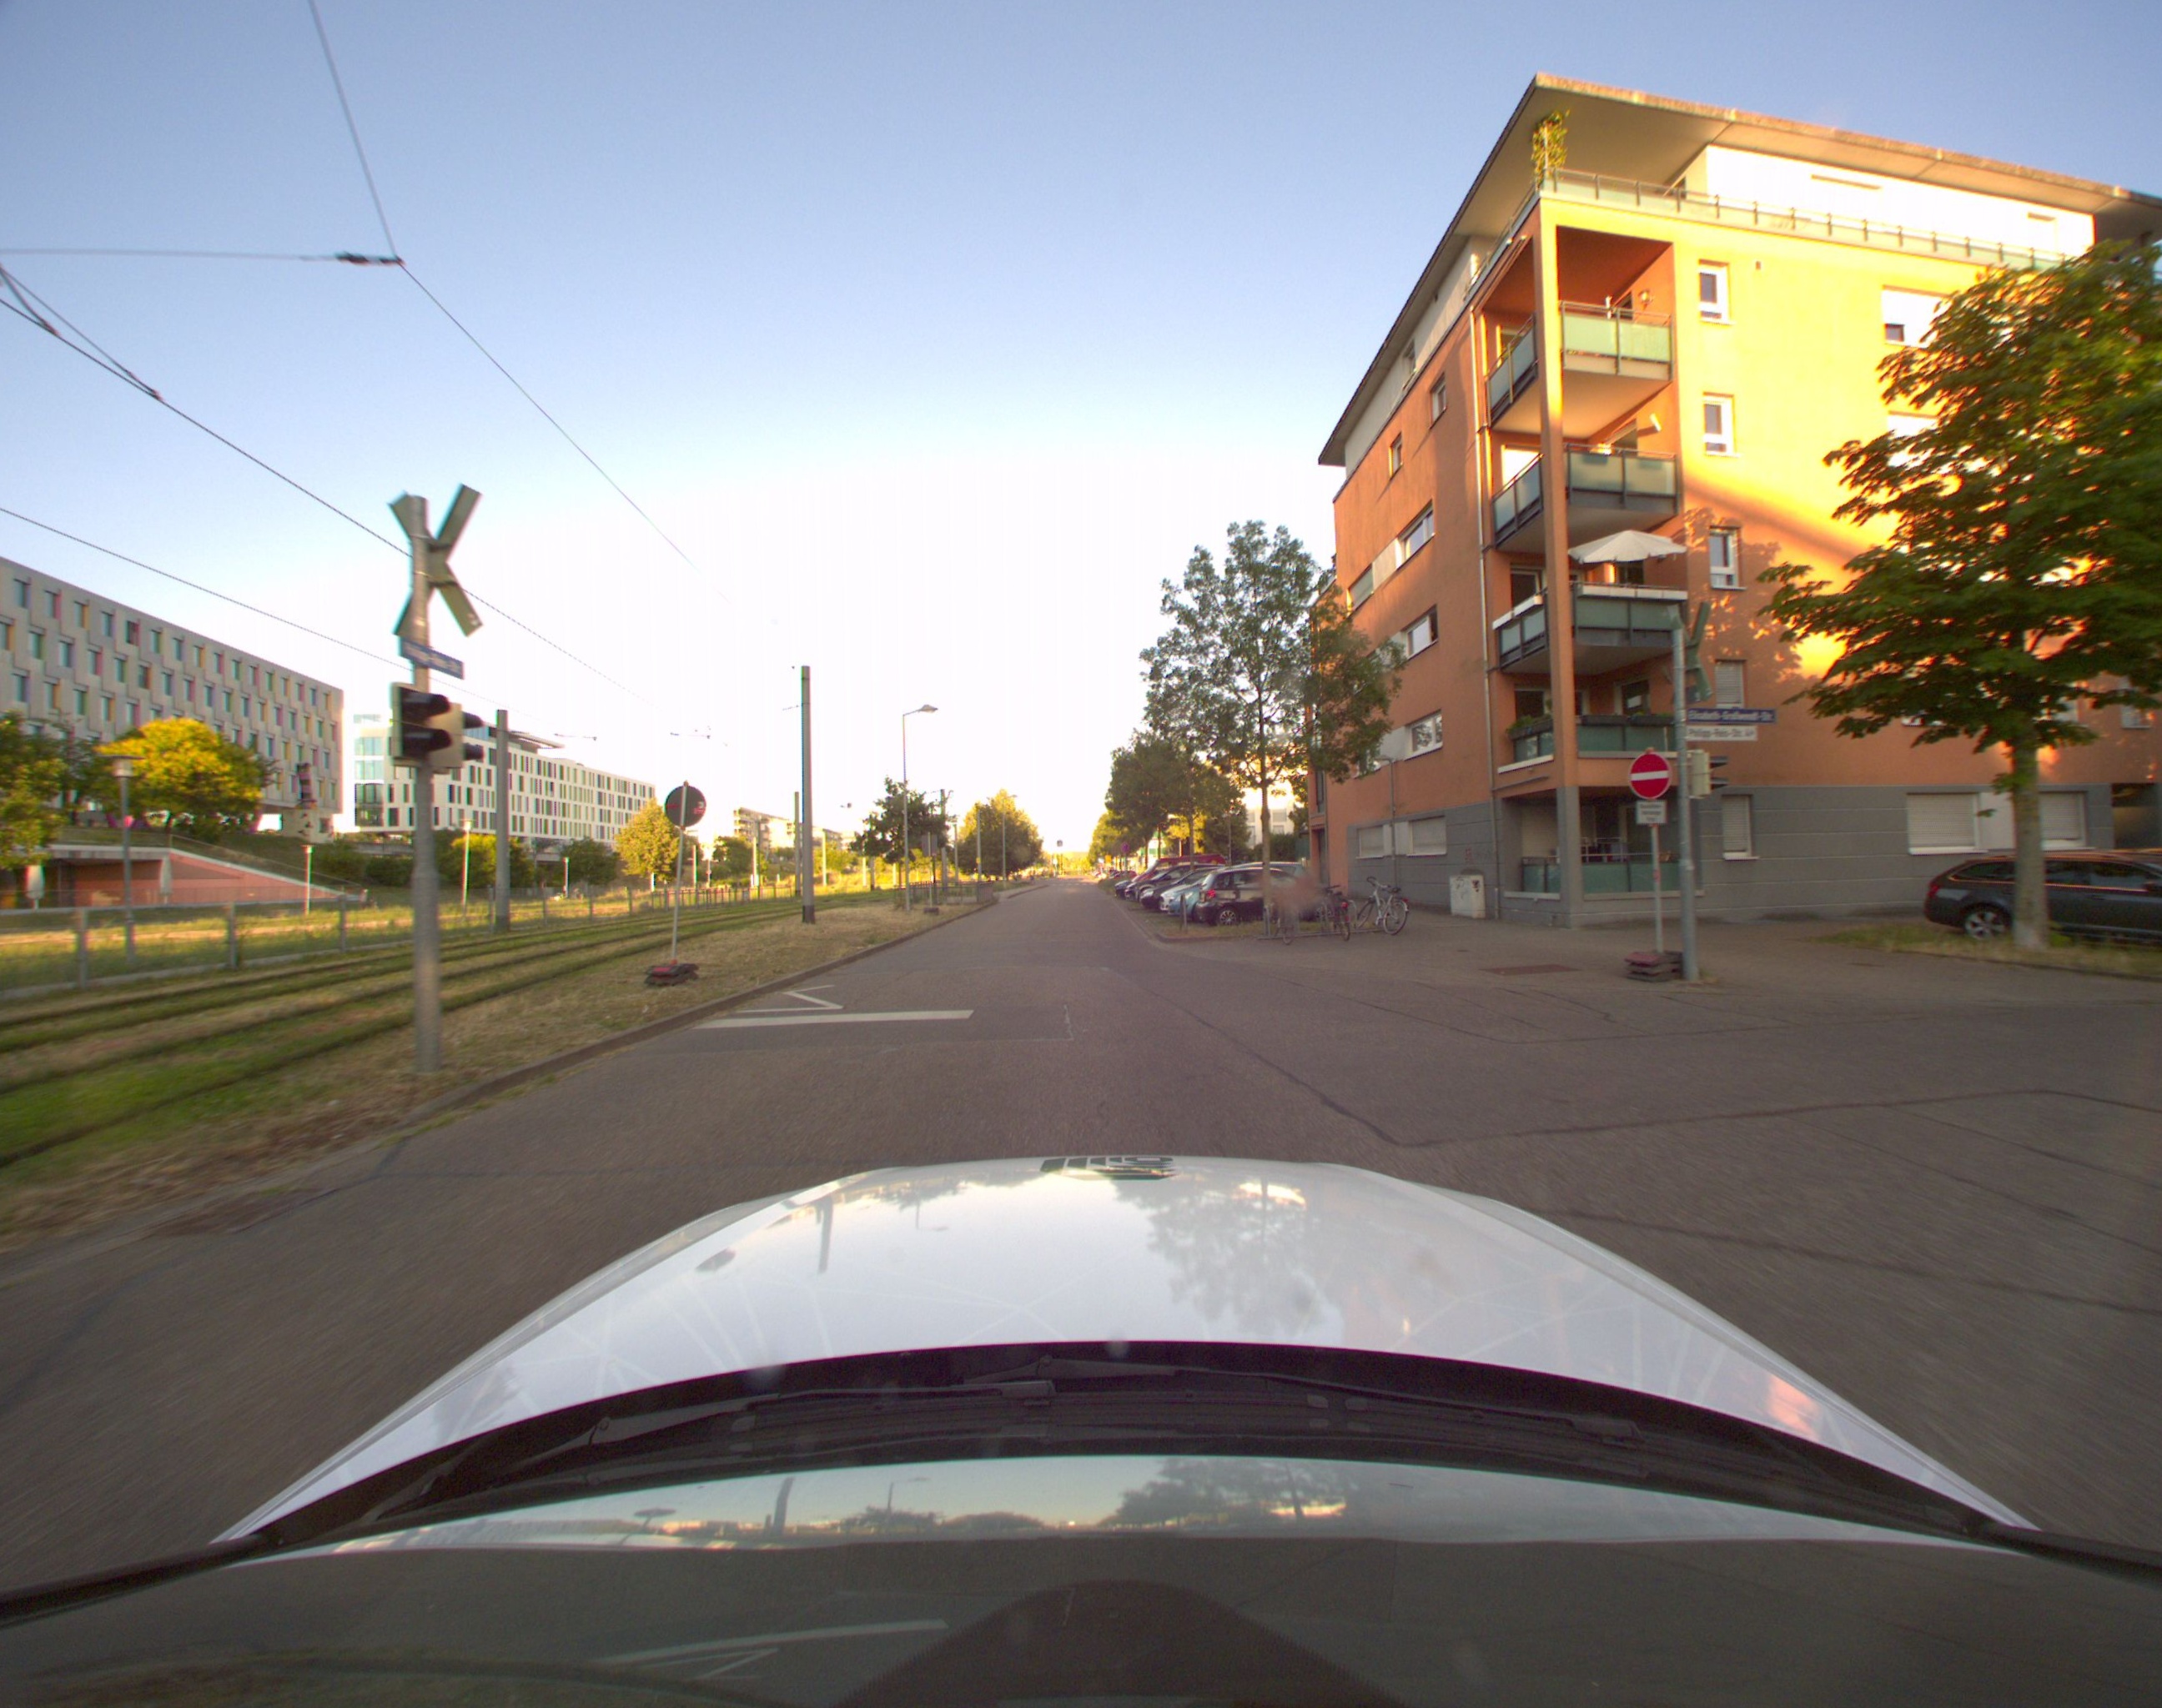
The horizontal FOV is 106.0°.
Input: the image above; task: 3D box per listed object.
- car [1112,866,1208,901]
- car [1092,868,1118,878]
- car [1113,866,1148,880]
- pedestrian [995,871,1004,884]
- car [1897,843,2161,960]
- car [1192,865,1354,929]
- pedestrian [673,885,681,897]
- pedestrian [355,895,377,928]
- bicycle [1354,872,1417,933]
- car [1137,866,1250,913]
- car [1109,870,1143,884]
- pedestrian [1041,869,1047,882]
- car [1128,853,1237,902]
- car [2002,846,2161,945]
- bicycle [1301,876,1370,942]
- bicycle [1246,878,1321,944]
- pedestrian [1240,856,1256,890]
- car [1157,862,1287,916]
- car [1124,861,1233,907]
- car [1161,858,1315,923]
[{"bbox_3d":[3.948,1.472,41.129,4.655,1.557,1.810,-2,-1,-1],"label":"car"},{"bbox_3d":[4.276,3.387,142.606,4.469,1.596,2.000,-2,-1,1],"label":"car"},{"bbox_3d":[5.601,2.176,92.235,3.793,1.509,1.677,-2,-1,-3],"label":"car"},{"bbox_3d":[-11.134,3.231,111.270,1.021,1.693,0.755,-1,-1,-18],"label":"pedestrian"},{"bbox_3d":[15.636,0.657,12.021,1.993,1.594,4.799,-1,-1,-9],"label":"car"},{"bbox_3d":[4.890,1.074,20.983,3.743,1.473,1.610,-1,-1,-5],"label":"car"},{"bbox_3d":[-61.858,5.716,124.724,0.784,1.786,0.814,-2,-2,3],"label":"pedestrian"},{"bbox_3d":[-45.805,3.684,52.184,0.614,2.082,0.790,0,-2,-1],"label":"pedestrian"},{"bbox_3d":[6.296,0.976,16.922,0.527,1.127,1.961,0,0,-2],"label":"bicycle"},{"bbox_3d":[3.915,1.254,28.711,3.762,1.496,1.538,-1,-3,-1],"label":"car"},{"bbox_3d":[5.255,2.713,94.933,3.793,1.509,1.677,-2,-1,-3],"label":"car"},{"bbox_3d":[-6.005,3.429,131.474,0.842,2.014,0.945,-2,-1,5],"label":"pedestrian"},{"bbox_3d":[4.729,1.099,38.613,4.902,2.117,2.017,-2,-1,1],"label":"car"},{"bbox_3d":[18.328,0.637,12.784,1.993,1.594,4.799,-1,-1,-9],"label":"car"},{"bbox_3d":[5.103,1.071,16.440,0.677,1.152,1.926,-3,0,-2],"label":"bicycle"},{"bbox_3d":[4.071,1.120,16.548,0.717,1.152,1.891,-3,1,-11],"label":"bicycle"},{"bbox_3d":[8.718,0.976,42.581,0.666,1.743,0.699,-2,-1,-1],"label":"pedestrian"},{"bbox_3d":[4.462,1.108,26.089,3.864,1.569,1.619,-1,-1,-1],"label":"car"},{"bbox_3d":[3.934,1.220,33.349,4.202,1.569,1.792,-3,-1,-1],"label":"car"},{"bbox_3d":[4.443,1.023,23.402,4.037,1.569,1.672,-3,-1,-1],"label":"car"}]
